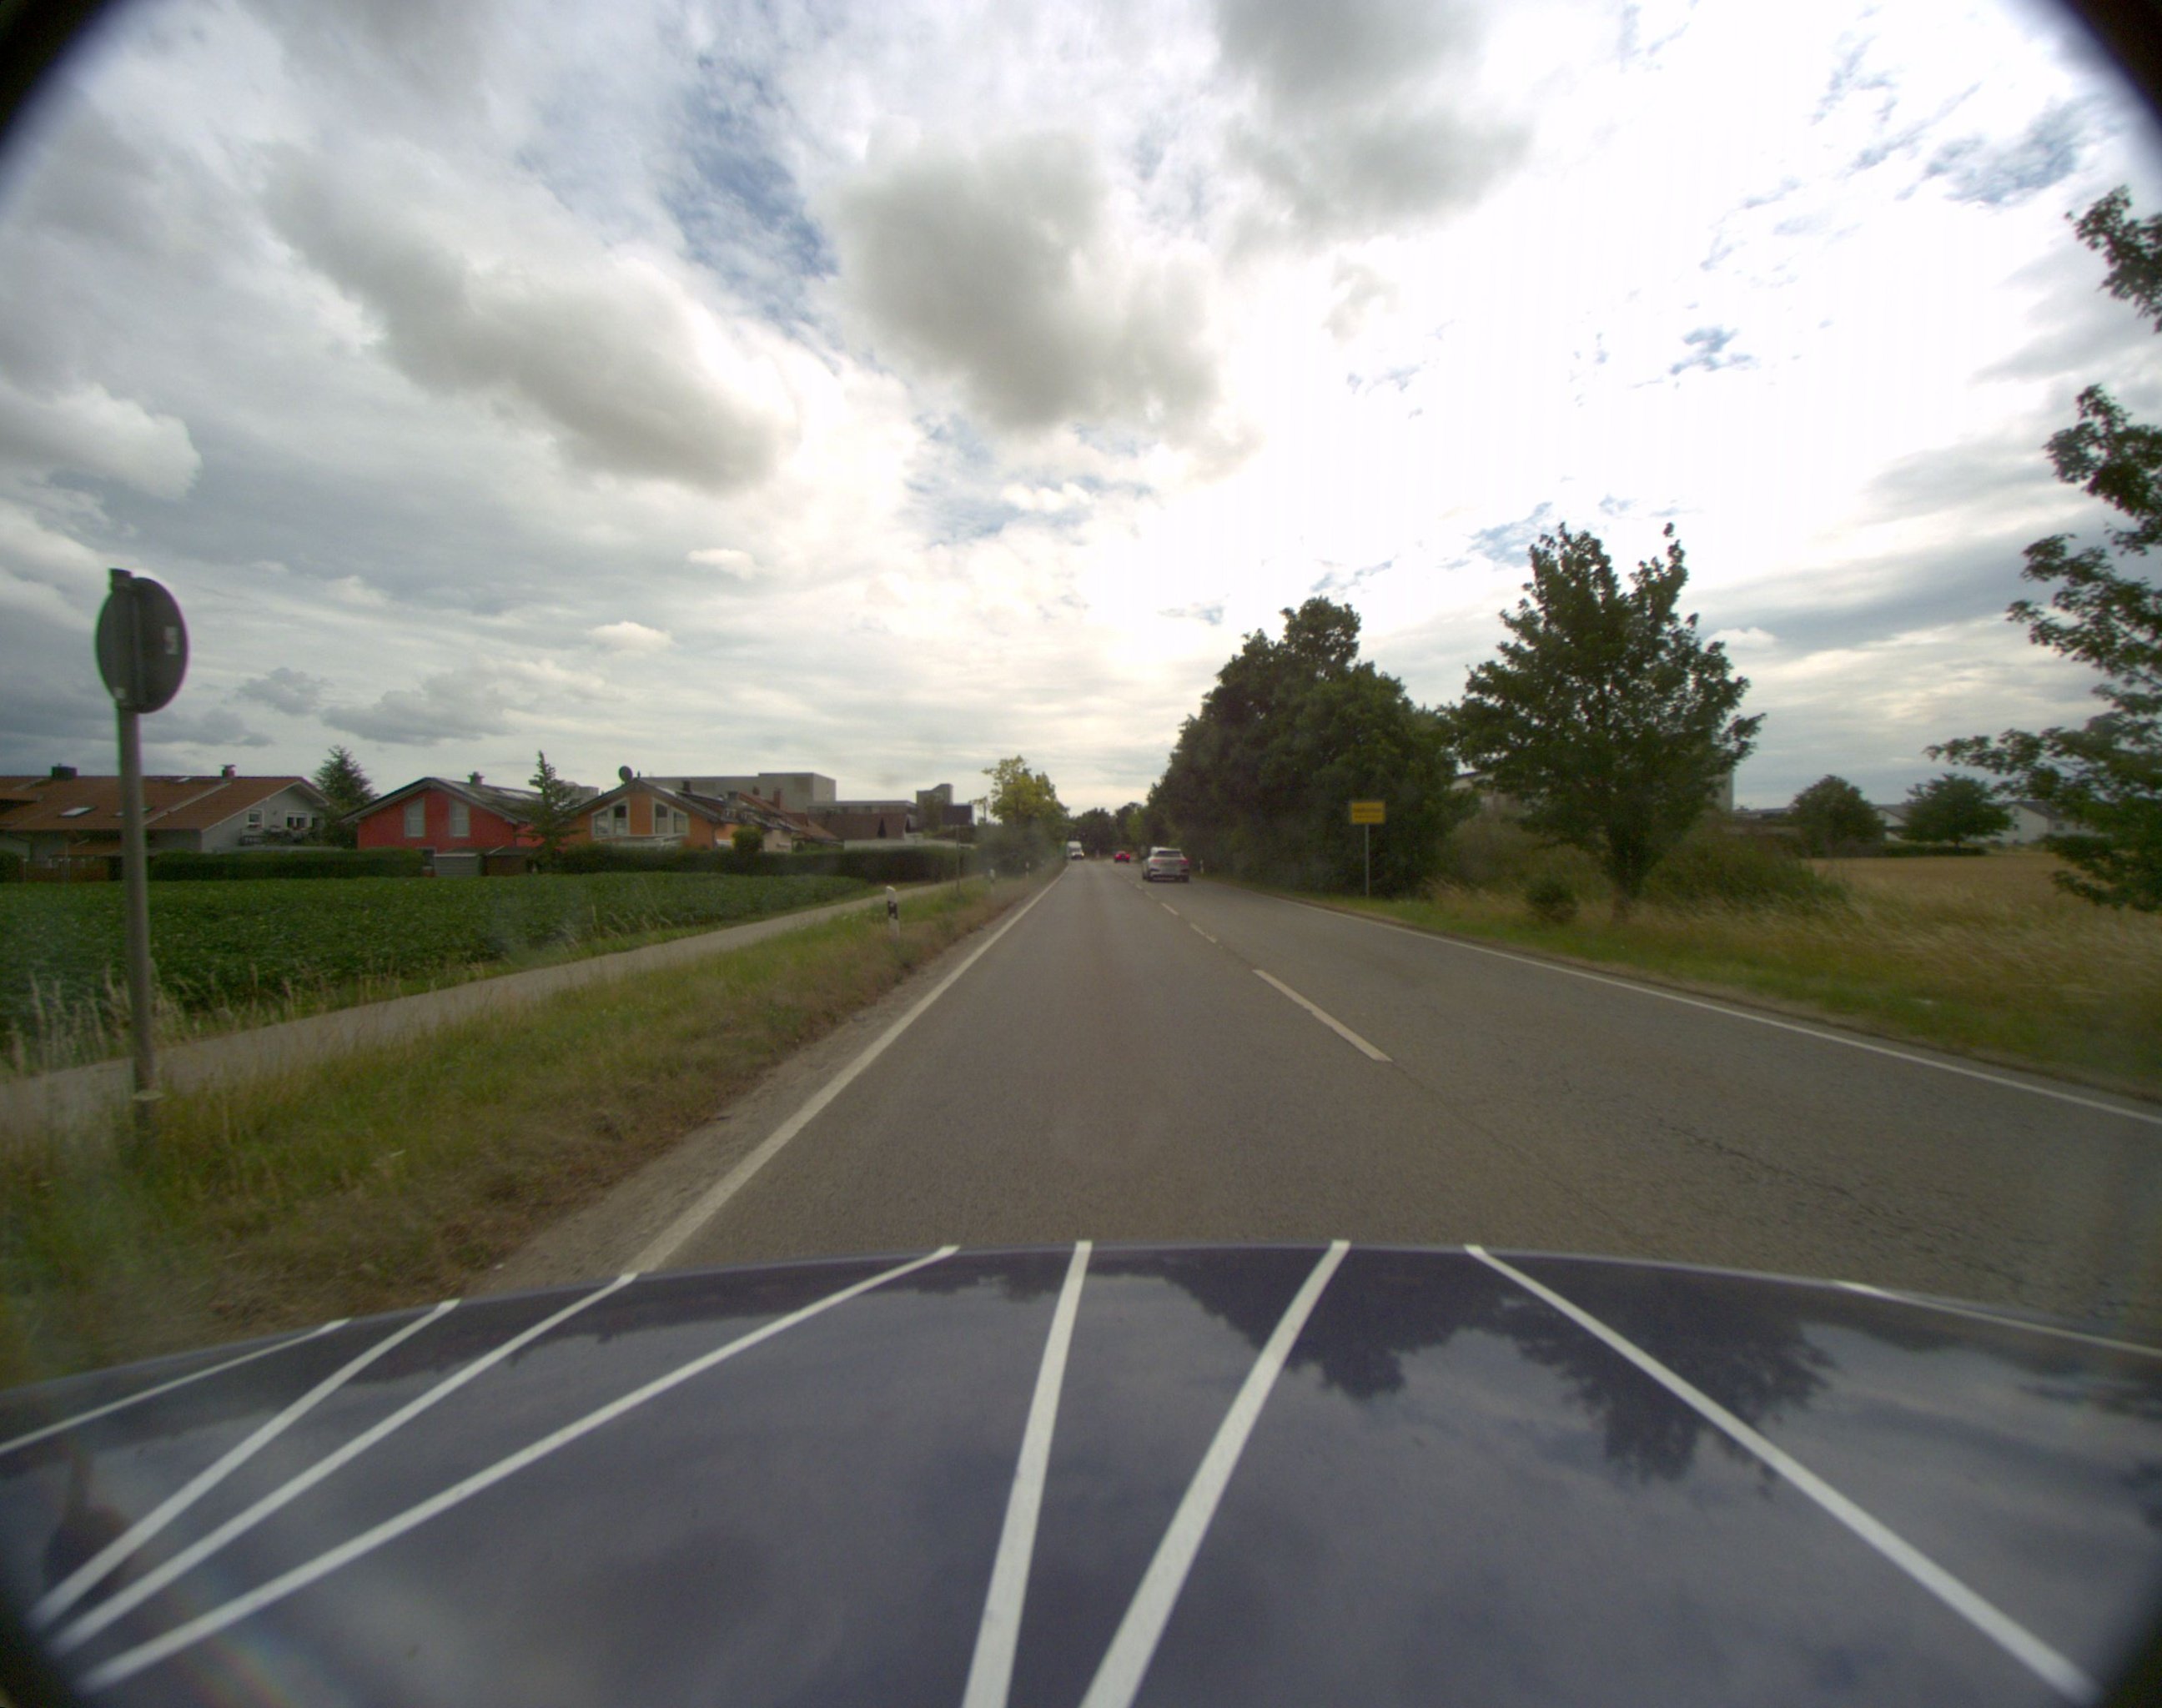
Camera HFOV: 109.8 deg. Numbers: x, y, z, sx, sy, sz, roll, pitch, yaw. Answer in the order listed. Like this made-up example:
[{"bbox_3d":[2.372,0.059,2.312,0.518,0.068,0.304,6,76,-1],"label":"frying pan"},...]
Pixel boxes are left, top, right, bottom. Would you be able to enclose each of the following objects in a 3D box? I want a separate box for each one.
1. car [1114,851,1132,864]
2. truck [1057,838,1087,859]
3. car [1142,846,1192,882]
[{"bbox_3d":[5.467,0.492,99.623,1.945,1.577,4.554,1,1,-2],"label":"car"},{"bbox_3d":[-1.645,-0.901,132.168,2.618,3.428,7.493,-2,1,-21],"label":"truck"},{"bbox_3d":[4.187,0.448,37.809,1.998,1.674,4.809,1,0,1],"label":"car"}]
